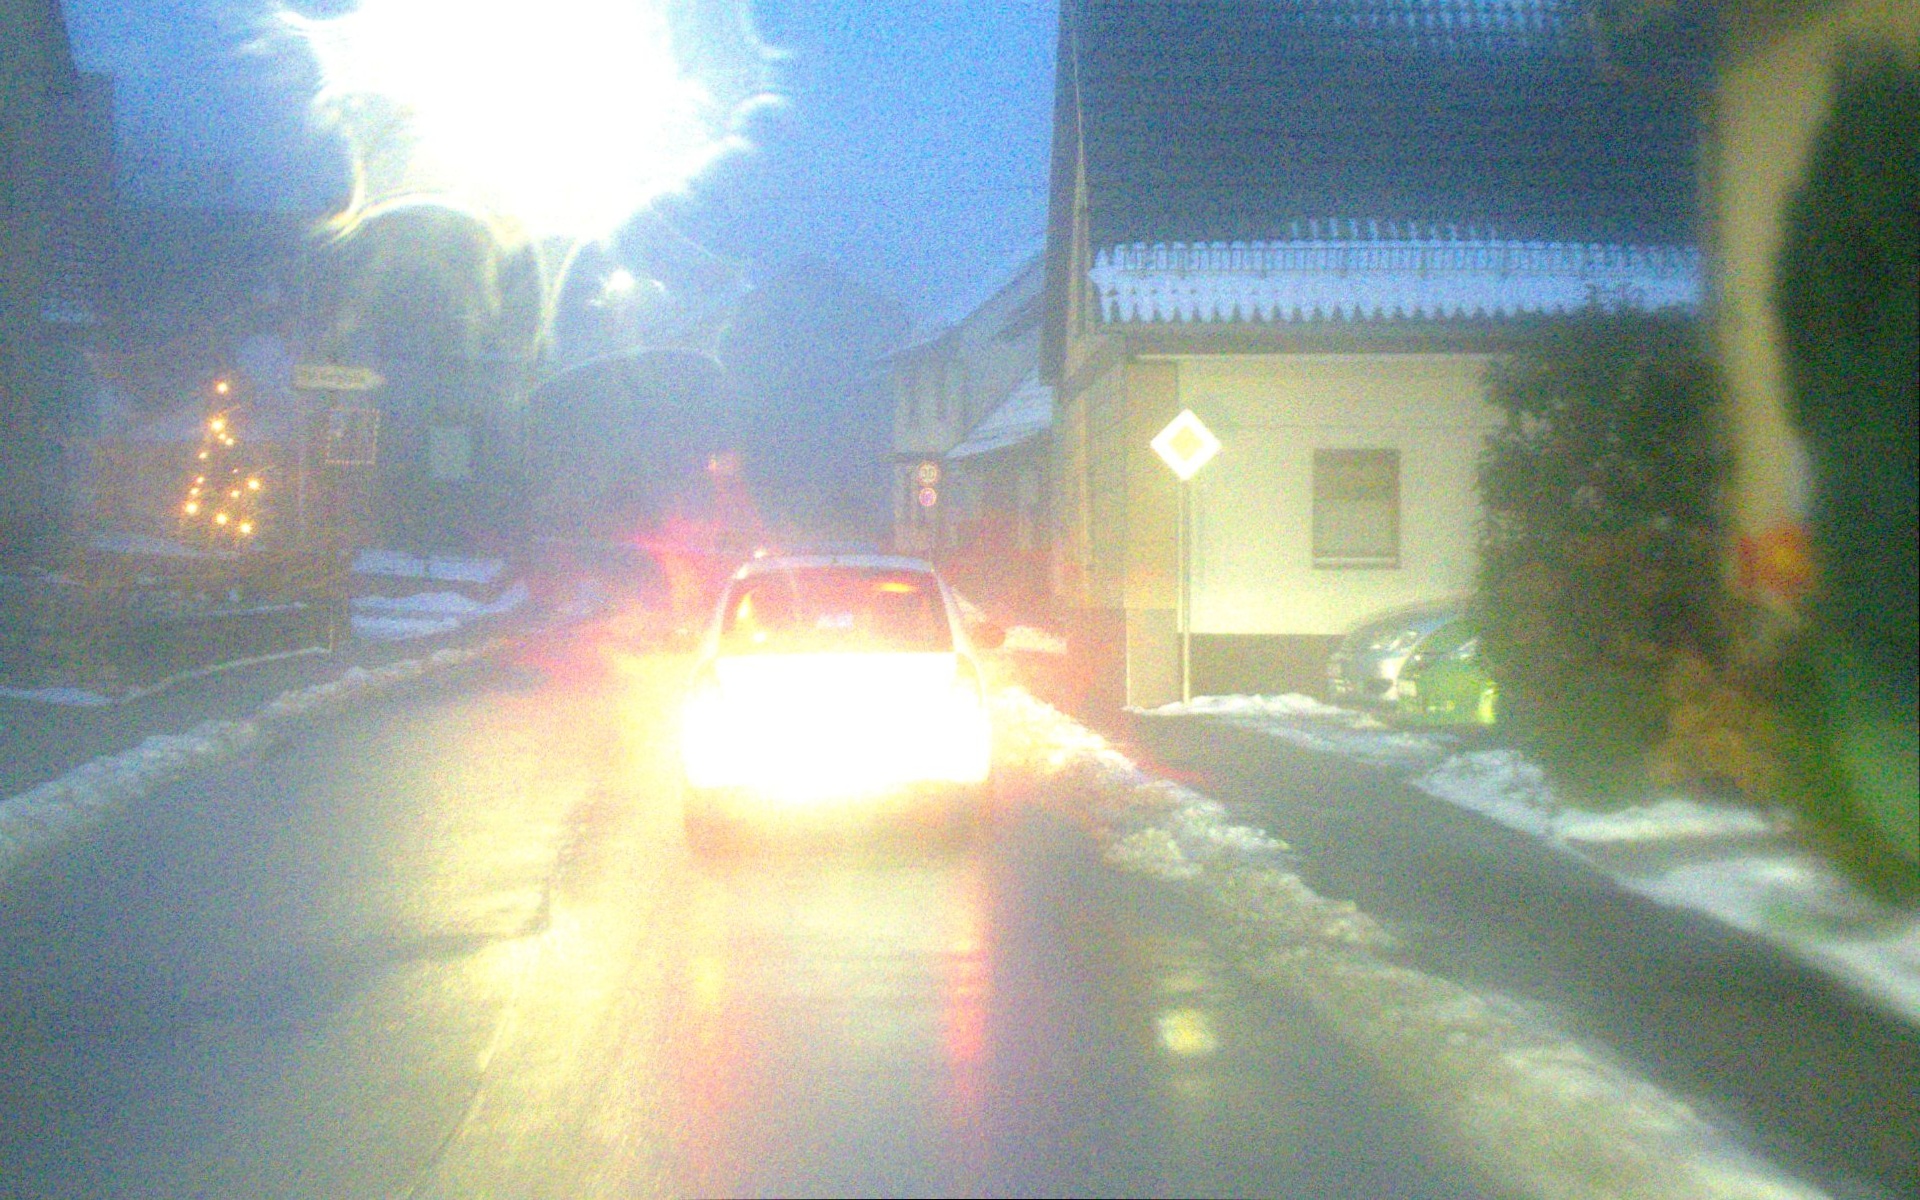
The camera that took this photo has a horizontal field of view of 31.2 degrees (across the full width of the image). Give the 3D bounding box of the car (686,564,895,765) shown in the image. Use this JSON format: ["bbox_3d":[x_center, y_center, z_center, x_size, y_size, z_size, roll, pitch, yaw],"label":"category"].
[{"bbox_3d":[-1.527,0.523,29.878,1.645,1.590,3.700,2,0,-5],"label":"car"}]

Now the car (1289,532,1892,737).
[{"bbox_3d":[4.802,0.243,26.539,4.169,1.428,1.902,1,1,-6],"label":"car"}]

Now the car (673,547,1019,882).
[{"bbox_3d":[-0.689,0.557,18.625,1.645,1.590,3.700,2,0,-4],"label":"car"}]

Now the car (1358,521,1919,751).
[{"bbox_3d":[4.777,0.207,23.568,3.740,1.492,1.822,0,1,-7],"label":"car"}]
